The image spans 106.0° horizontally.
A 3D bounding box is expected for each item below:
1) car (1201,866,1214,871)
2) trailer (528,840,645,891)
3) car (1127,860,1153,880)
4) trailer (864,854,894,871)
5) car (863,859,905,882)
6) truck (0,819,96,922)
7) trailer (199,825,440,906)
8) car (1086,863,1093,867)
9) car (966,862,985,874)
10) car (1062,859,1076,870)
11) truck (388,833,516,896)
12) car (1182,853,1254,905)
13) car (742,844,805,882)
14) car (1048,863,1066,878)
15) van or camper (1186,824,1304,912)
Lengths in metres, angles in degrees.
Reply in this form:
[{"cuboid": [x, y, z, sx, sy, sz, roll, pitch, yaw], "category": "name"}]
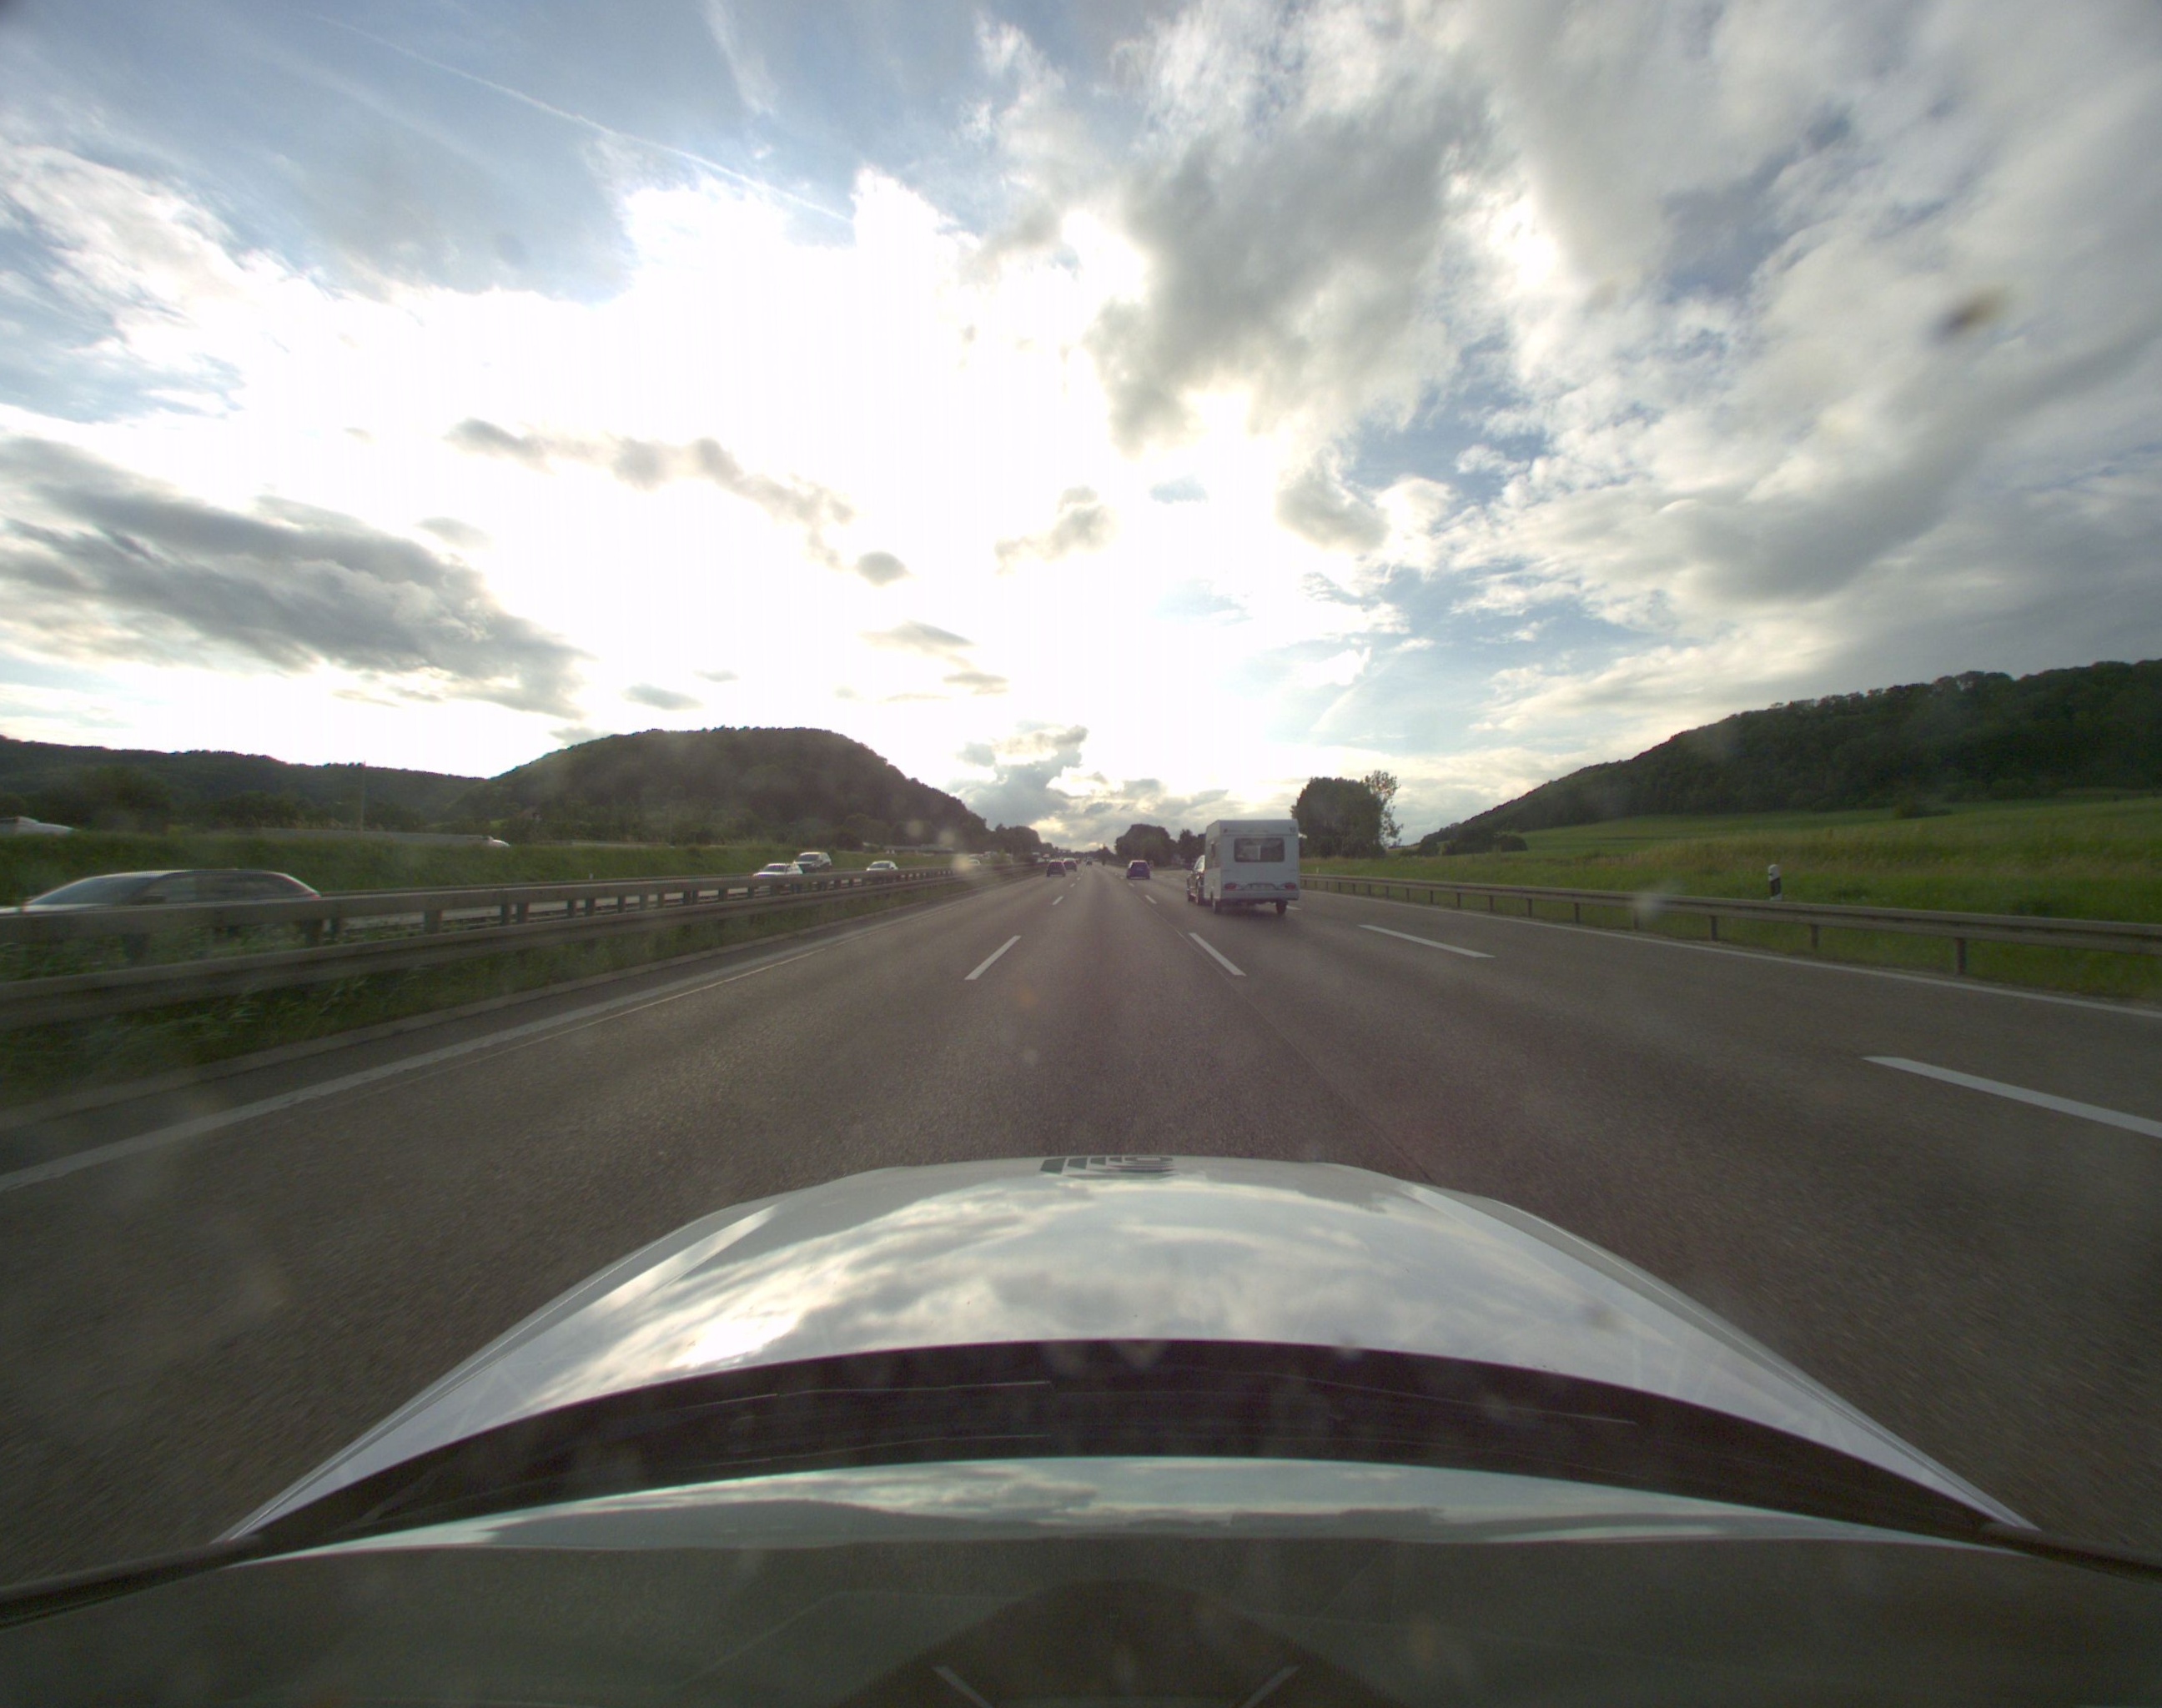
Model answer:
[{"cuboid": [39.867, 4.545, 256.654, 4.331, 1.556, 1.966, 1, -3, -40], "category": "car"}, {"cuboid": [-39.530, 0.884, 65.709, 2.867, 3.696, 10.374, -2, -1, 1], "category": "trailer"}, {"cuboid": [4.596, 1.247, 63.773, 1.761, 1.433, 3.999, -2, -1, 0], "category": "car"}, {"cuboid": [-38.139, 1.626, 154.080, 2.569, 2.854, 11.382, 0, -2, 2], "category": "trailer"}, {"cuboid": [-13.745, 1.114, 57.023, 1.945, 1.475, 3.873, -2, -1, 0], "category": "car"}, {"cuboid": [-39.993, 0.613, 27.565, 2.871, 3.691, 8.492, -2, -1, 1], "category": "truck"}, {"cuboid": [-39.841, 0.584, 43.422, 2.867, 3.696, 10.374, -2, -1, 1], "category": "trailer"}, {"cuboid": [2.408, 3.132, 234.114, 1.747, 1.222, 3.994, -1, -1, -4], "category": "car"}, {"cuboid": [-14.032, 1.860, 108.230, 1.945, 1.448, 3.873, -2, -1, 0], "category": "car"}, {"cuboid": [-1.627, 1.372, 108.759, 1.558, 1.380, 4.003, -1, -1, 3], "category": "car"}, {"cuboid": [-39.717, 0.658, 51.736, 2.872, 3.691, 6.591, -2, -1, 0], "category": "truck"}, {"cuboid": [4.689, 0.813, 28.434, 1.780, 1.652, 4.481, 0, 0, 0], "category": "car"}, {"cuboid": [-18.346, 0.542, 48.849, 1.945, 2.113, 4.521, -2, -1, 0], "category": "car"}, {"cuboid": [-2.185, 1.512, 75.045, 1.533, 1.348, 3.677, 0, -1, 1], "category": "car"}, {"cuboid": [4.638, 0.449, 23.987, 2.538, 2.239, 5.331, -2, -2, 2], "category": "van or camper"}]
